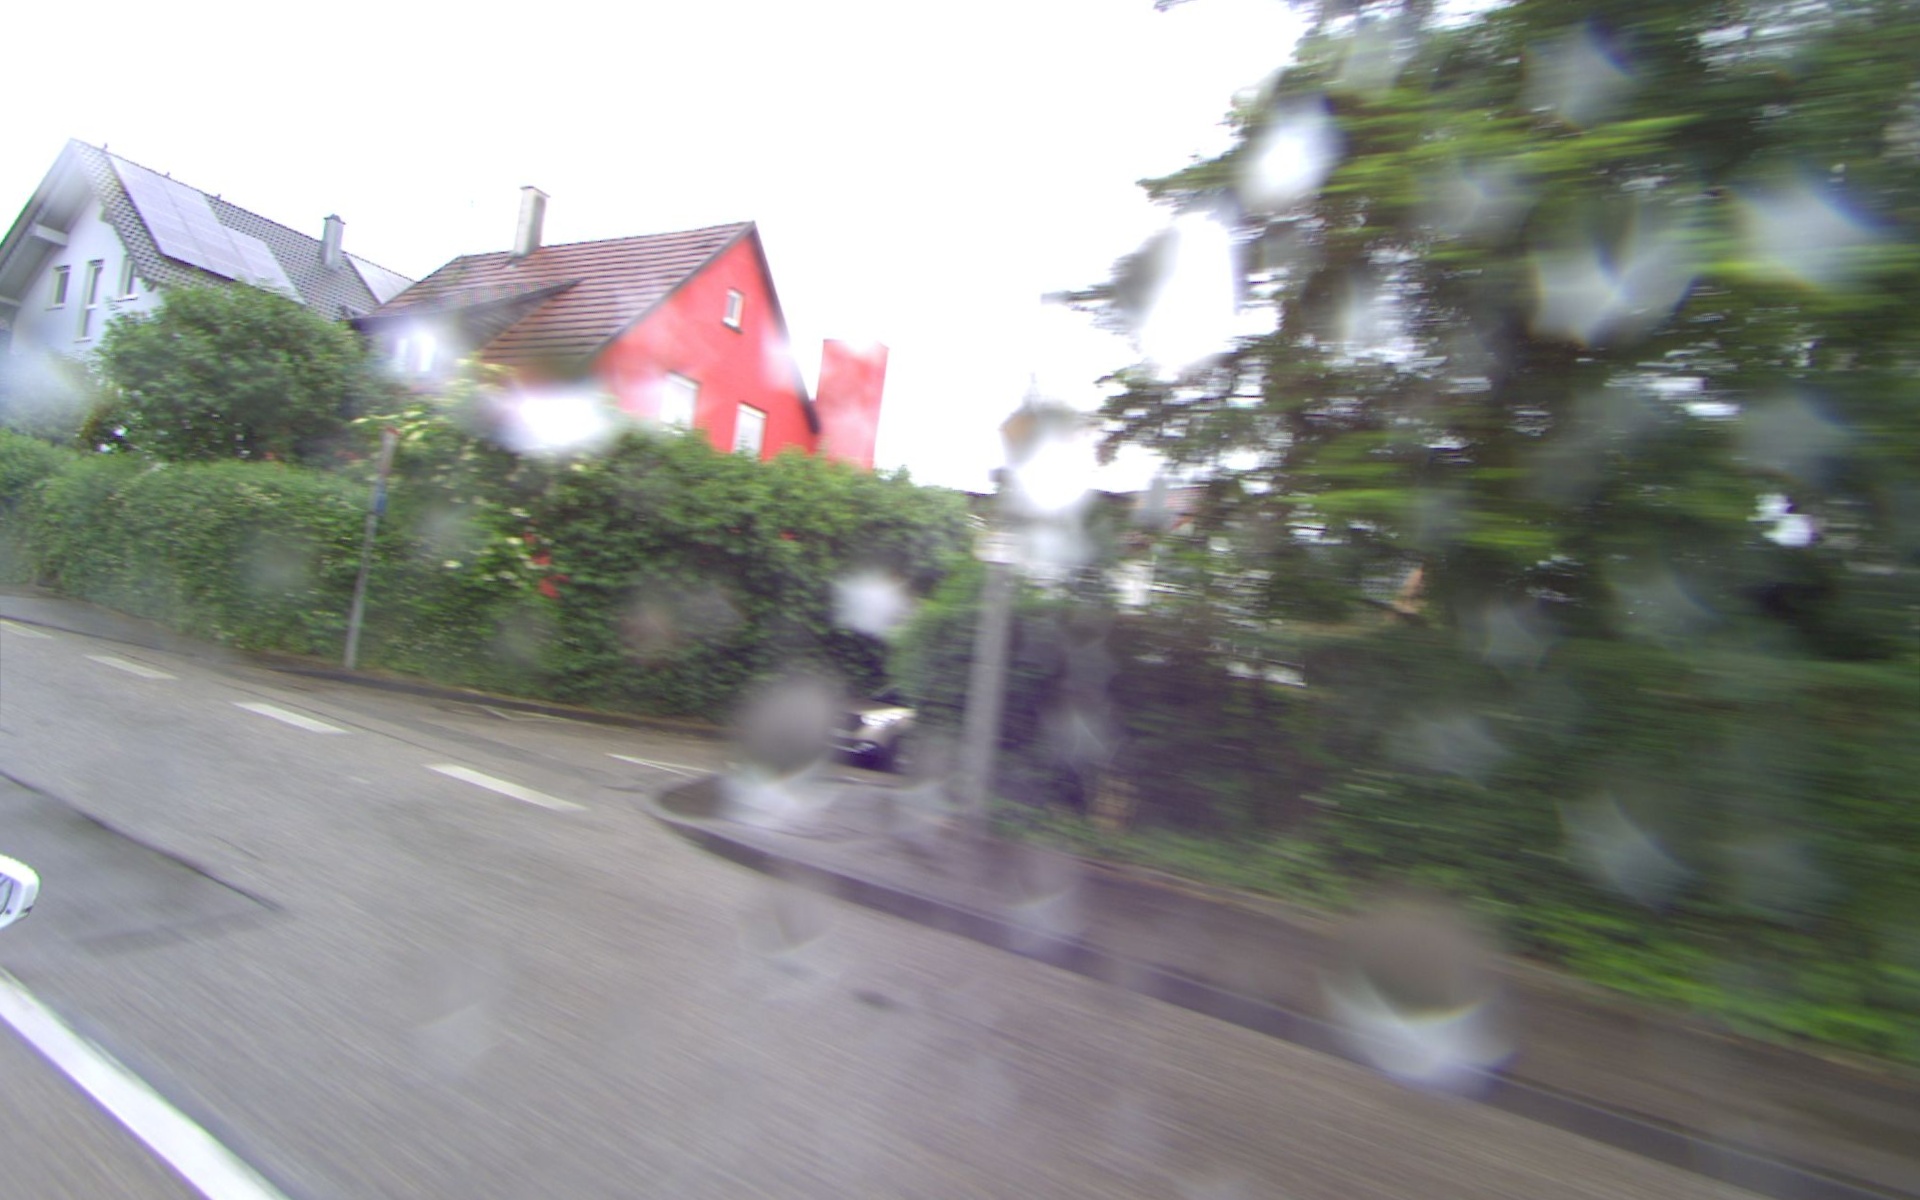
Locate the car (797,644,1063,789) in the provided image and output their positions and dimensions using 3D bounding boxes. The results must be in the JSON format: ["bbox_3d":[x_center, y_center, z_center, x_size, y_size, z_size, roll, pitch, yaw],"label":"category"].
[{"bbox_3d":[-0.424,2.072,17.427,4.273,1.767,1.767,15,-5,-41],"label":"car"}]
